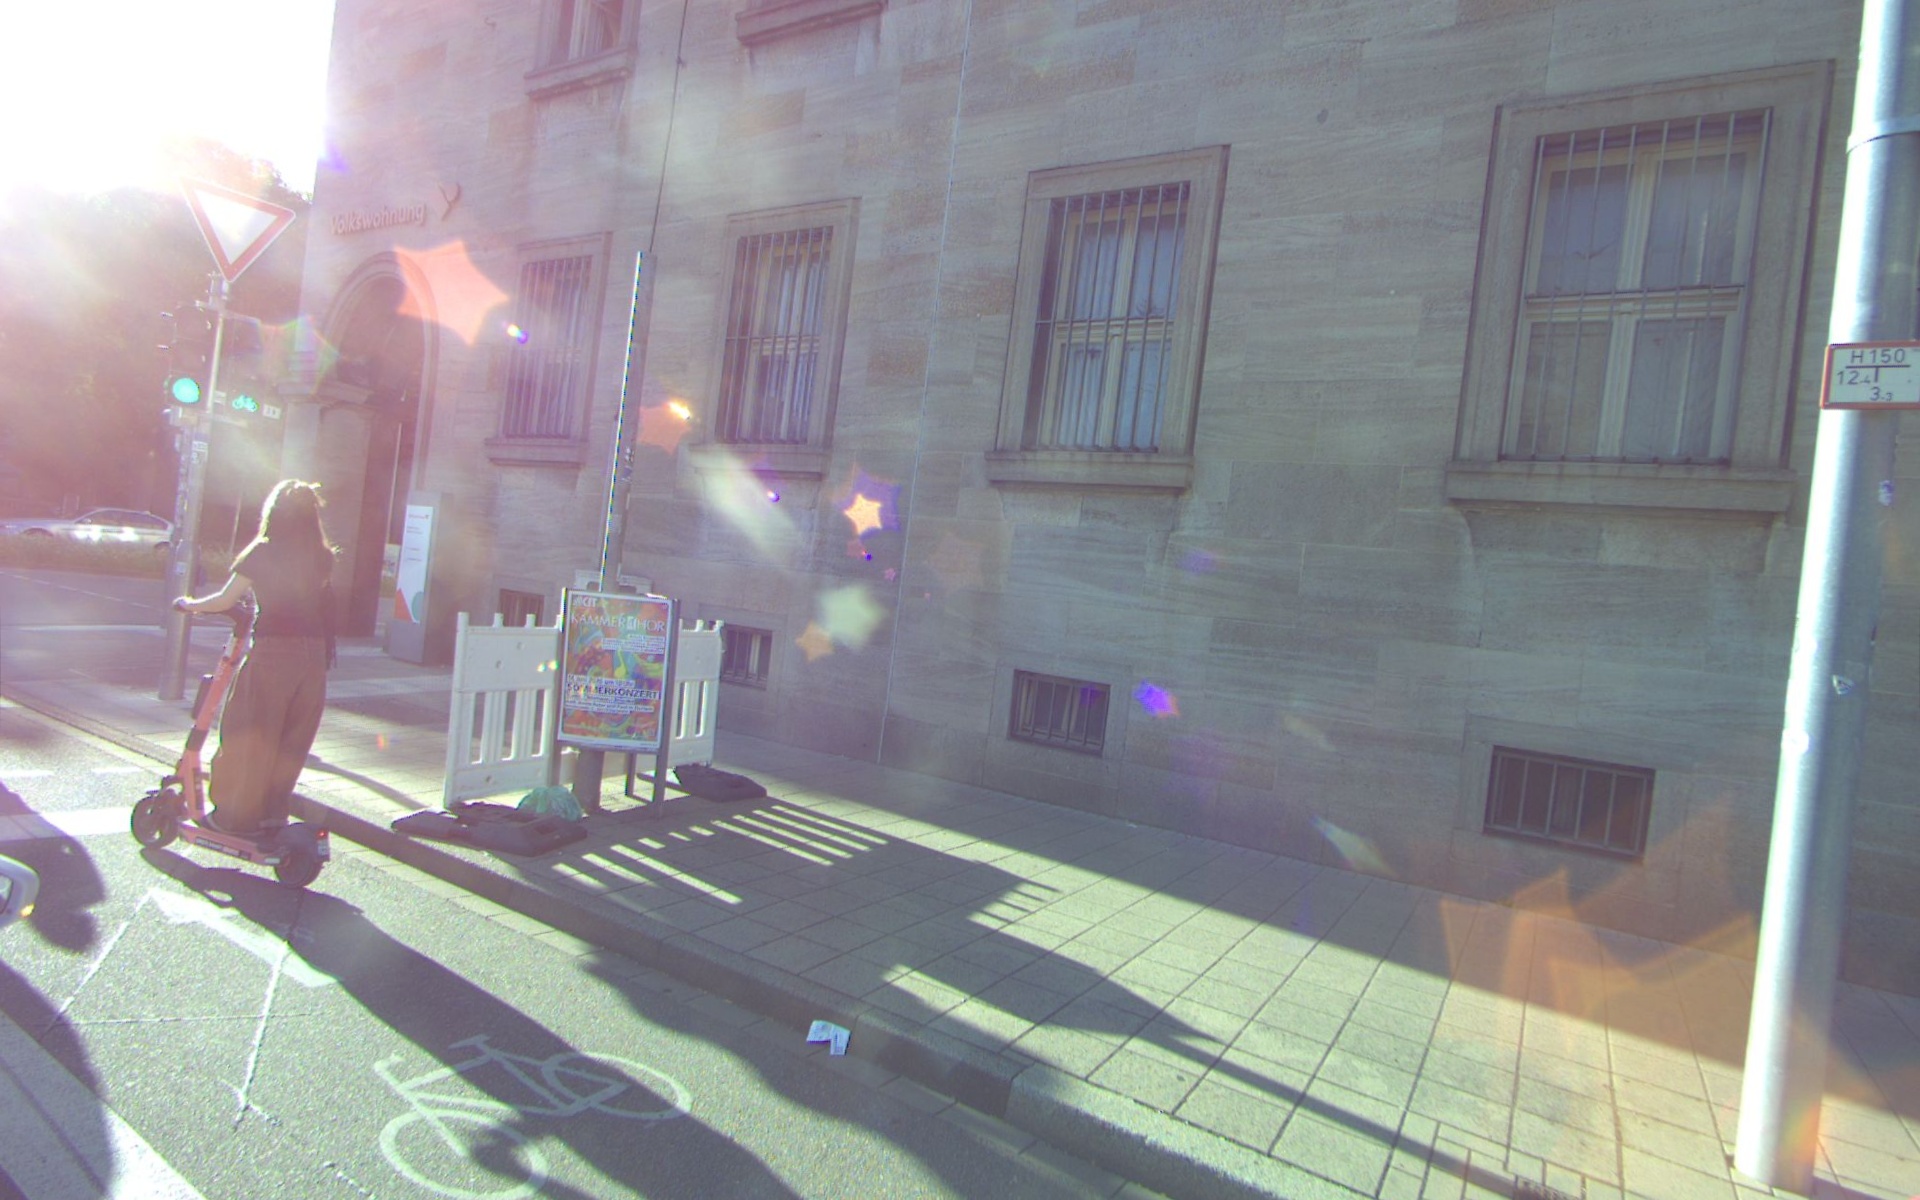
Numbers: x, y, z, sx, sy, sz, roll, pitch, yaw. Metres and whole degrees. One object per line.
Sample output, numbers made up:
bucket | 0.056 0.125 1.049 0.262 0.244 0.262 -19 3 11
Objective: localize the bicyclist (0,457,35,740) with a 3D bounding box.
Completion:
bicyclist | -6.478 -0.062 6.263 0.933 1.759 0.585 7 0 22

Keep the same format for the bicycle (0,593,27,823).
bicycle | -5.317 0.403 4.738 1.715 1.057 0.625 7 0 23

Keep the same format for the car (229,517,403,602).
car | -20.251 -1.229 31.788 1.968 2.037 3.994 6 -2 33

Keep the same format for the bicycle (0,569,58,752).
bicycle | -6.510 0.285 6.262 1.715 1.057 0.584 7 0 23

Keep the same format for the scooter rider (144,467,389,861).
scooter rider | -3.046 0.265 4.439 0.567 1.581 0.546 7 0 27

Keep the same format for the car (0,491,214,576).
car | -23.445 -1.773 27.333 1.967 1.533 4.586 6 -2 32

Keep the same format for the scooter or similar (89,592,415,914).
scooter or similar | -3.188 0.628 4.525 1.250 1.163 0.574 7 -1 27
